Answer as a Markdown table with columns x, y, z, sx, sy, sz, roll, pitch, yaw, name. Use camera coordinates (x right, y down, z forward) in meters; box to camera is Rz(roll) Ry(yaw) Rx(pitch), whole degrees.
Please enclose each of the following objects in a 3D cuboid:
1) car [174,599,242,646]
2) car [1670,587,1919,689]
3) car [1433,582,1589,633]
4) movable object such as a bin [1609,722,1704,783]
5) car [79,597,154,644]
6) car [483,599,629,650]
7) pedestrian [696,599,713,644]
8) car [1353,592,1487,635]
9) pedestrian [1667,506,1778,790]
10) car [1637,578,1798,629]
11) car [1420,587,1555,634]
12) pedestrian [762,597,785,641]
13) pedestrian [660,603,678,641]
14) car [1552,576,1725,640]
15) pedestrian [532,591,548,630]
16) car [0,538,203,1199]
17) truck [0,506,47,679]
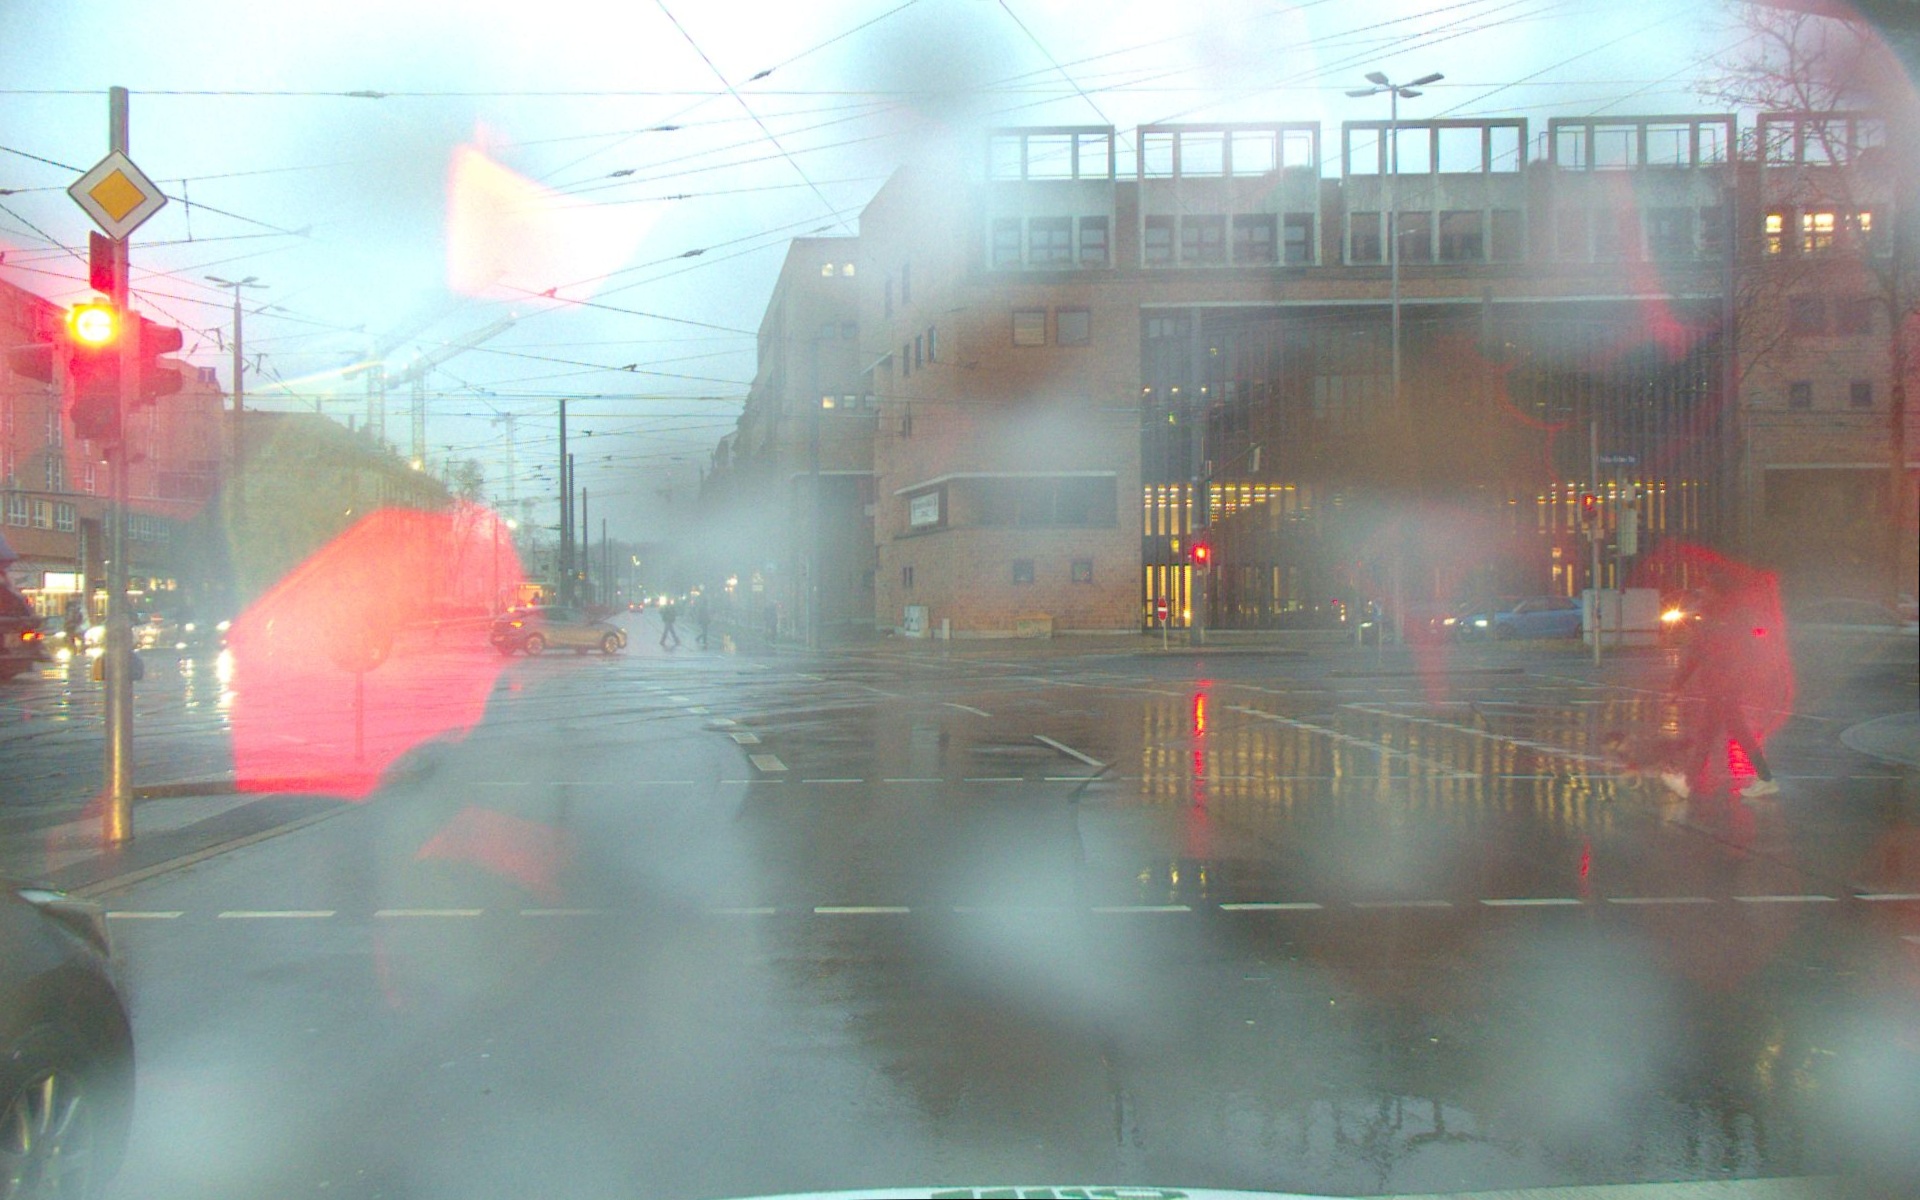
| x | y | z | sx | sy | sz | roll | pitch | yaw | name |
| --- | --- | --- | --- | --- | --- | --- | --- | --- | --- |
| -32.024 | 0.934 | 70.502 | 1.960 | 1.893 | 3.984 | -1 | 0 | -15 | car |
| 15.137 | 0.610 | 28.477 | 4.891 | 1.635 | 2.251 | -1 | 0 | -6 | car |
| 15.976 | 0.209 | 48.064 | 3.910 | 1.284 | 1.846 | -1 | 4 | -7 | car |
| 5.777 | 1.262 | 13.723 | 0.664 | 0.477 | 0.312 | 0 | -1 | -7 | movable object such as a bin |
| -35.577 | 0.848 | 69.856 | 1.960 | 1.893 | 3.984 | -1 | 0 | -15 | car |
| -12.200 | 0.742 | 50.011 | 3.962 | 1.466 | 1.690 | 2 | -1 | -40 | car |
| -10.022 | 0.840 | 64.863 | 0.654 | 1.755 | 0.487 | -1 | 0 | -11 | pedestrian |
| 15.538 | 0.451 | 55.970 | 3.909 | 1.333 | 1.998 | -1 | 0 | -5 | car |
| 6.101 | 0.377 | 13.258 | 0.564 | 2.223 | 0.619 | 0 | -1 | -6 | pedestrian |
| 22.347 | 0.091 | 48.868 | 3.910 | 1.310 | 1.846 | -1 | 4 | -7 | car |
| 16.602 | 0.317 | 52.159 | 3.649 | 1.284 | 1.846 | -1 | 4 | -7 | car |
| -7.385 | 0.742 | 65.352 | 0.828 | 1.717 | 0.648 | -1 | 0 | -11 | pedestrian |
| -11.601 | 0.876 | 65.893 | 0.687 | 1.510 | 0.574 | -1 | 0 | -11 | pedestrian |
| 18.228 | 0.205 | 44.518 | 3.910 | 1.530 | 1.846 | -1 | 4 | -7 | car |
| -18.963 | 0.472 | 74.683 | 0.681 | 1.754 | 0.762 | -1 | 0 | -15 | pedestrian |
| -2.611 | 0.656 | 1.941 | 1.596 | 1.550 | 3.941 | -1 | -1 | 0 | car |
| -23.782 | -0.129 | 36.749 | 7.364 | 3.697 | 2.842 | -1 | 0 | 31 | truck |
